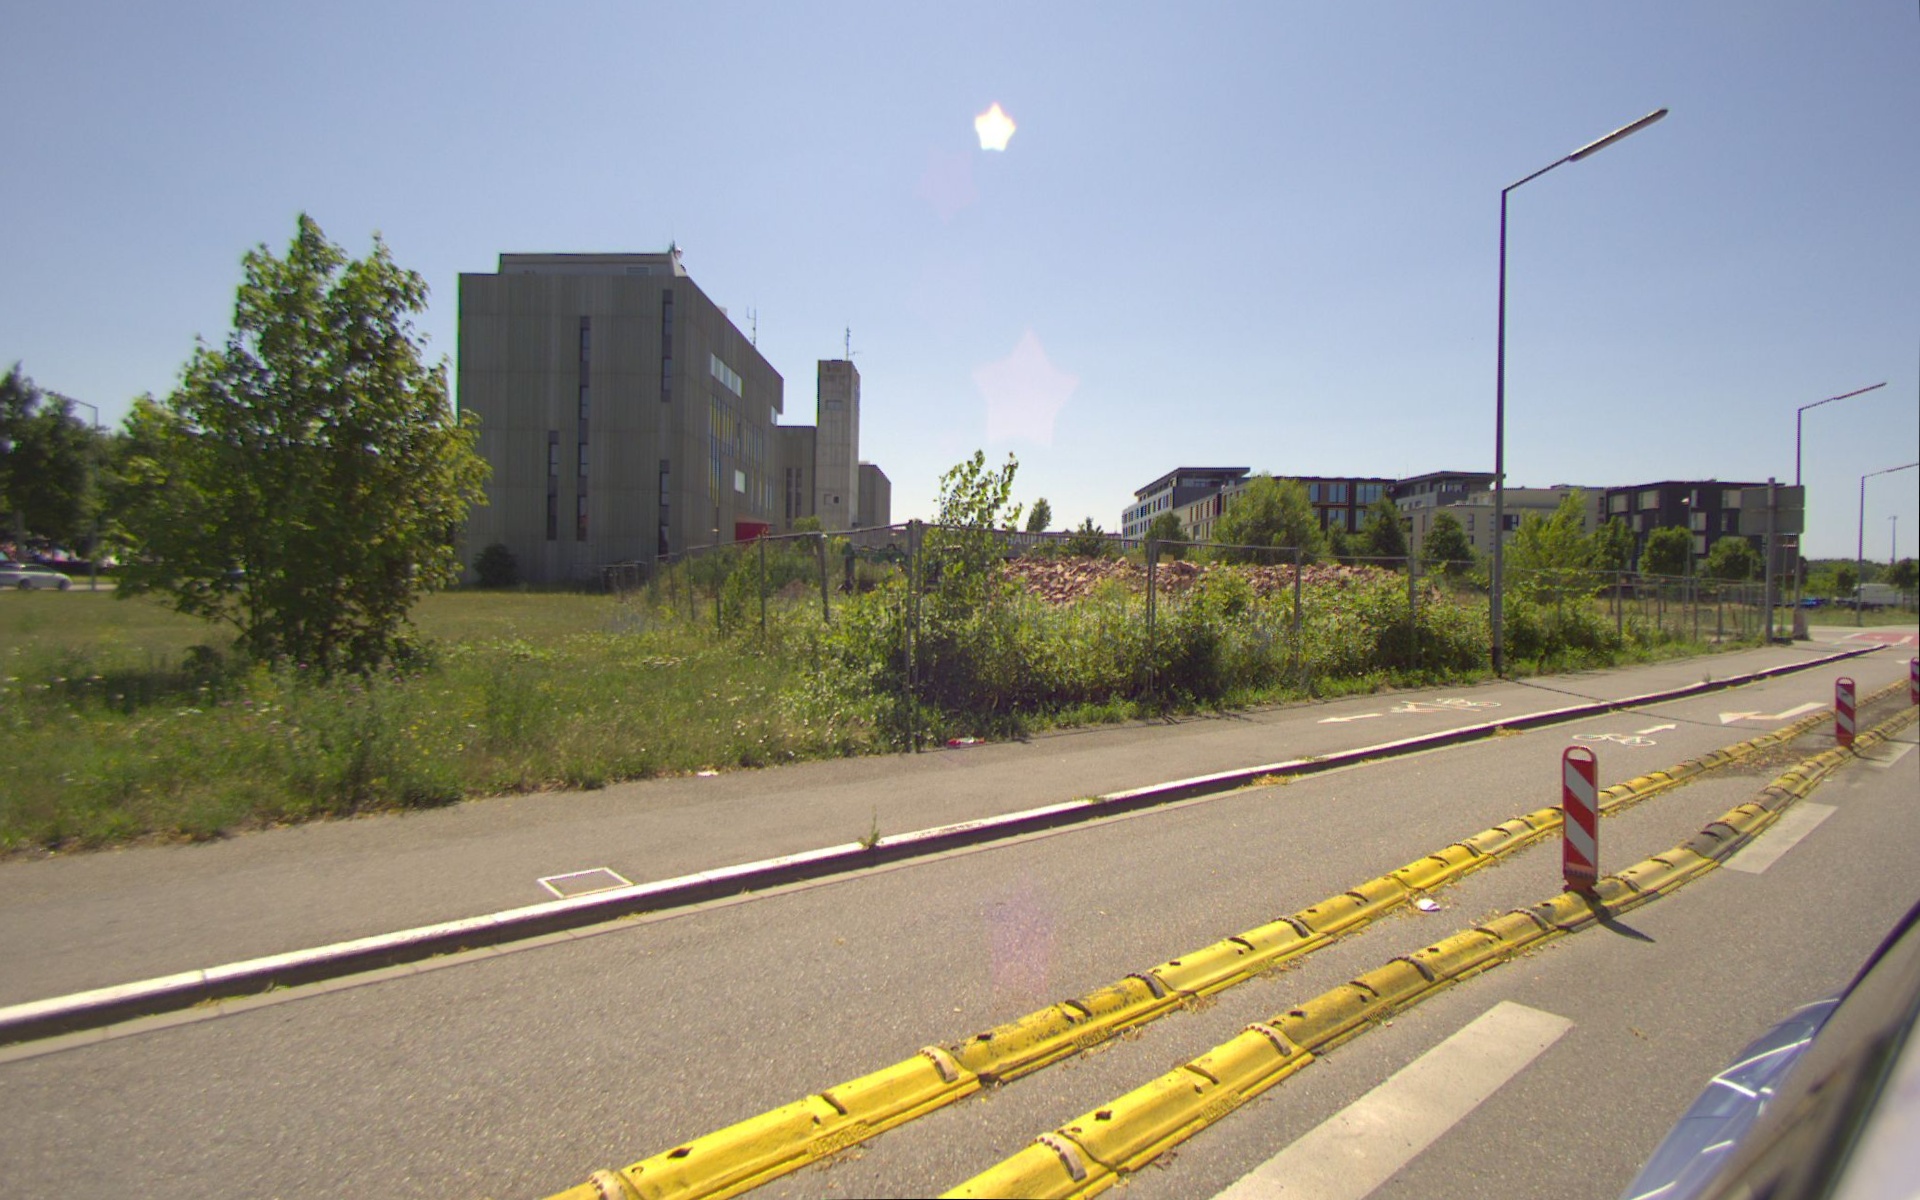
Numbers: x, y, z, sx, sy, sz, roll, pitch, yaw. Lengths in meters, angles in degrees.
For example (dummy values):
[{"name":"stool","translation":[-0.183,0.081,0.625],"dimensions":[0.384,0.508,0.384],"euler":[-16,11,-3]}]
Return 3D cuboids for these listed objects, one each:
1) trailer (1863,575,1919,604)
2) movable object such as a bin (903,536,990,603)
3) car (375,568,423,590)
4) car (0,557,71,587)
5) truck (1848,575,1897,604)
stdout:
[{"name":"trailer","translation":[113.928,-1.212,121.865],"dimensions":[8.030,3.390,1.998],"euler":[1,1,4]},{"name":"movable object such as a bin","translation":[-0.665,-1.439,49.194],"dimensions":[3.619,3.101,2.207],"euler":[0,0,-36]},{"name":"car","translation":[-47.748,-1.767,86.206],"dimensions":[1.775,1.772,3.998],"euler":[0,1,2]},{"name":"car","translation":[-50.939,-1.479,55.003],"dimensions":[1.708,1.571,3.999],"euler":[0,1,1]},{"name":"truck","translation":[110.132,-1.323,122.156],"dimensions":[3.928,3.377,1.998],"euler":[1,1,4]}]
